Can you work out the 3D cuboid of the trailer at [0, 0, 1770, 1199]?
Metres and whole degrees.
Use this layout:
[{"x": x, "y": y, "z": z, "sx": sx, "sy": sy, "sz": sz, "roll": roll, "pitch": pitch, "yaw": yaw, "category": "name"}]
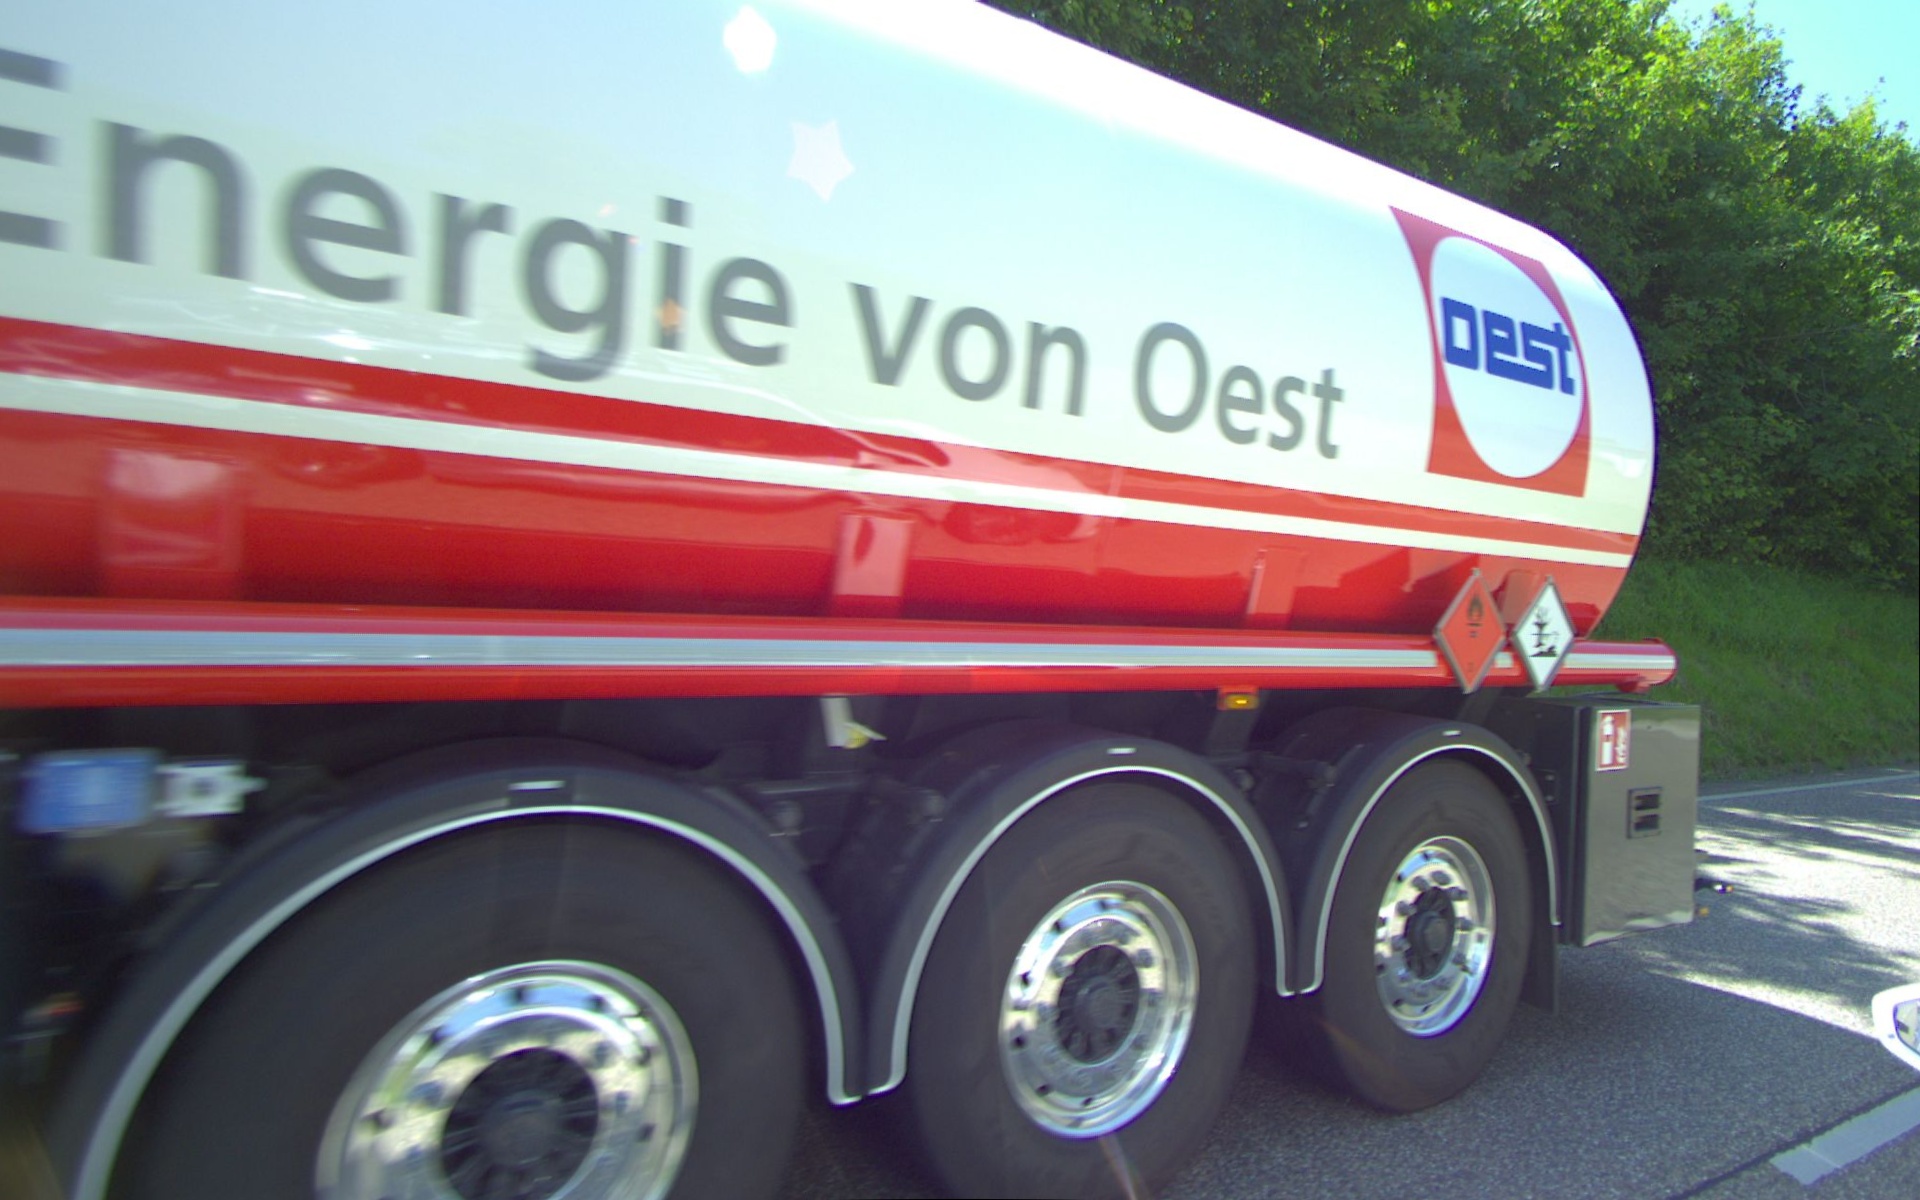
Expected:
[{"x": -2.336, "y": -0.333, "z": 2.186, "sx": 11.013, "sy": 3.417, "sz": 2.620, "roll": 3, "pitch": -1, "yaw": -31, "category": "trailer"}]
